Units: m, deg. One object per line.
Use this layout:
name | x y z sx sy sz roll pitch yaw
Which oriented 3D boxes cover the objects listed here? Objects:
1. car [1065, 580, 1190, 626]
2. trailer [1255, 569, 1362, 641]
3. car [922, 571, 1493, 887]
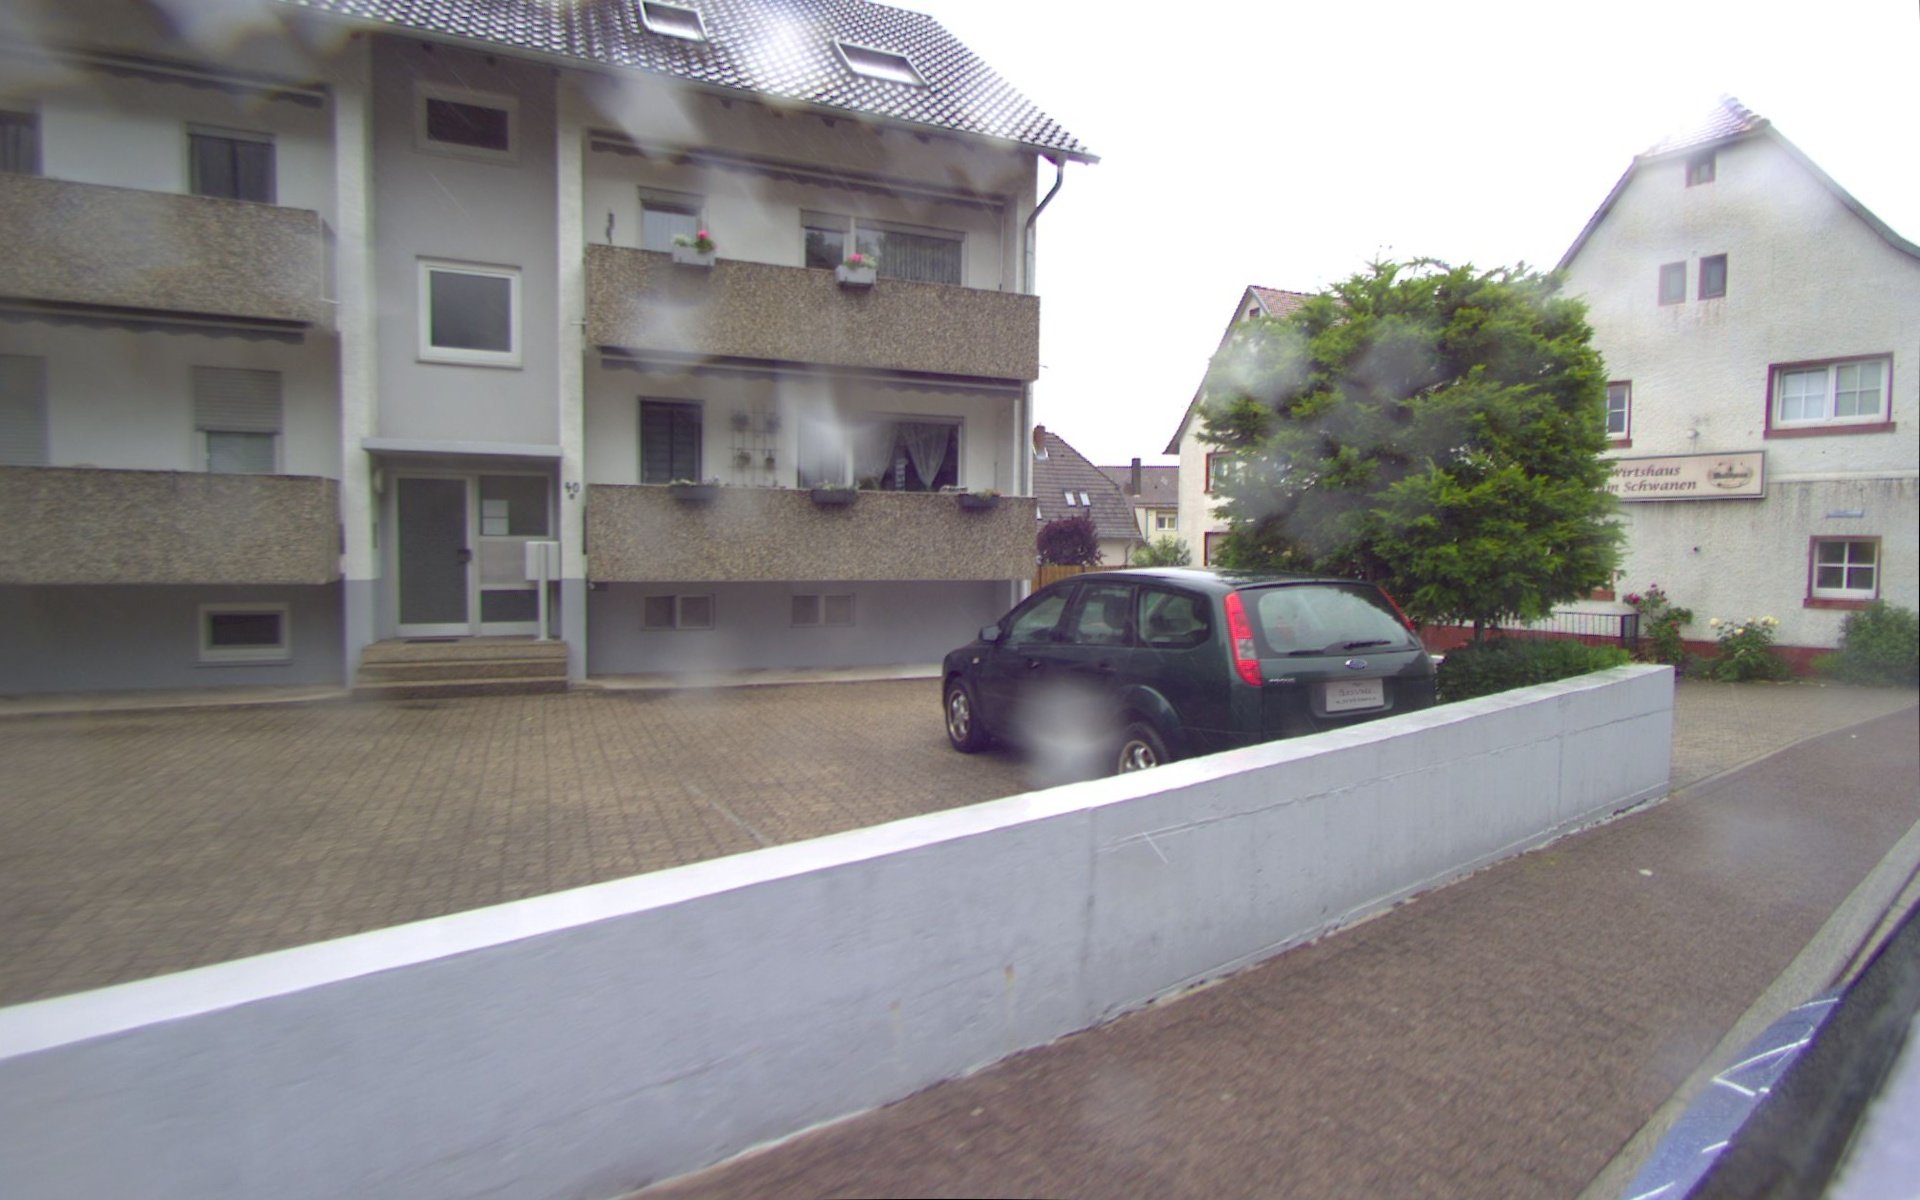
car | 5.456 0.067 32.921 3.748 1.393 1.636 -1 2 -26
trailer | 9.069 0.094 26.288 2.565 1.763 1.571 0 1 -41
car | 1.316 0.575 7.224 1.660 1.498 4.251 0 2 -25
